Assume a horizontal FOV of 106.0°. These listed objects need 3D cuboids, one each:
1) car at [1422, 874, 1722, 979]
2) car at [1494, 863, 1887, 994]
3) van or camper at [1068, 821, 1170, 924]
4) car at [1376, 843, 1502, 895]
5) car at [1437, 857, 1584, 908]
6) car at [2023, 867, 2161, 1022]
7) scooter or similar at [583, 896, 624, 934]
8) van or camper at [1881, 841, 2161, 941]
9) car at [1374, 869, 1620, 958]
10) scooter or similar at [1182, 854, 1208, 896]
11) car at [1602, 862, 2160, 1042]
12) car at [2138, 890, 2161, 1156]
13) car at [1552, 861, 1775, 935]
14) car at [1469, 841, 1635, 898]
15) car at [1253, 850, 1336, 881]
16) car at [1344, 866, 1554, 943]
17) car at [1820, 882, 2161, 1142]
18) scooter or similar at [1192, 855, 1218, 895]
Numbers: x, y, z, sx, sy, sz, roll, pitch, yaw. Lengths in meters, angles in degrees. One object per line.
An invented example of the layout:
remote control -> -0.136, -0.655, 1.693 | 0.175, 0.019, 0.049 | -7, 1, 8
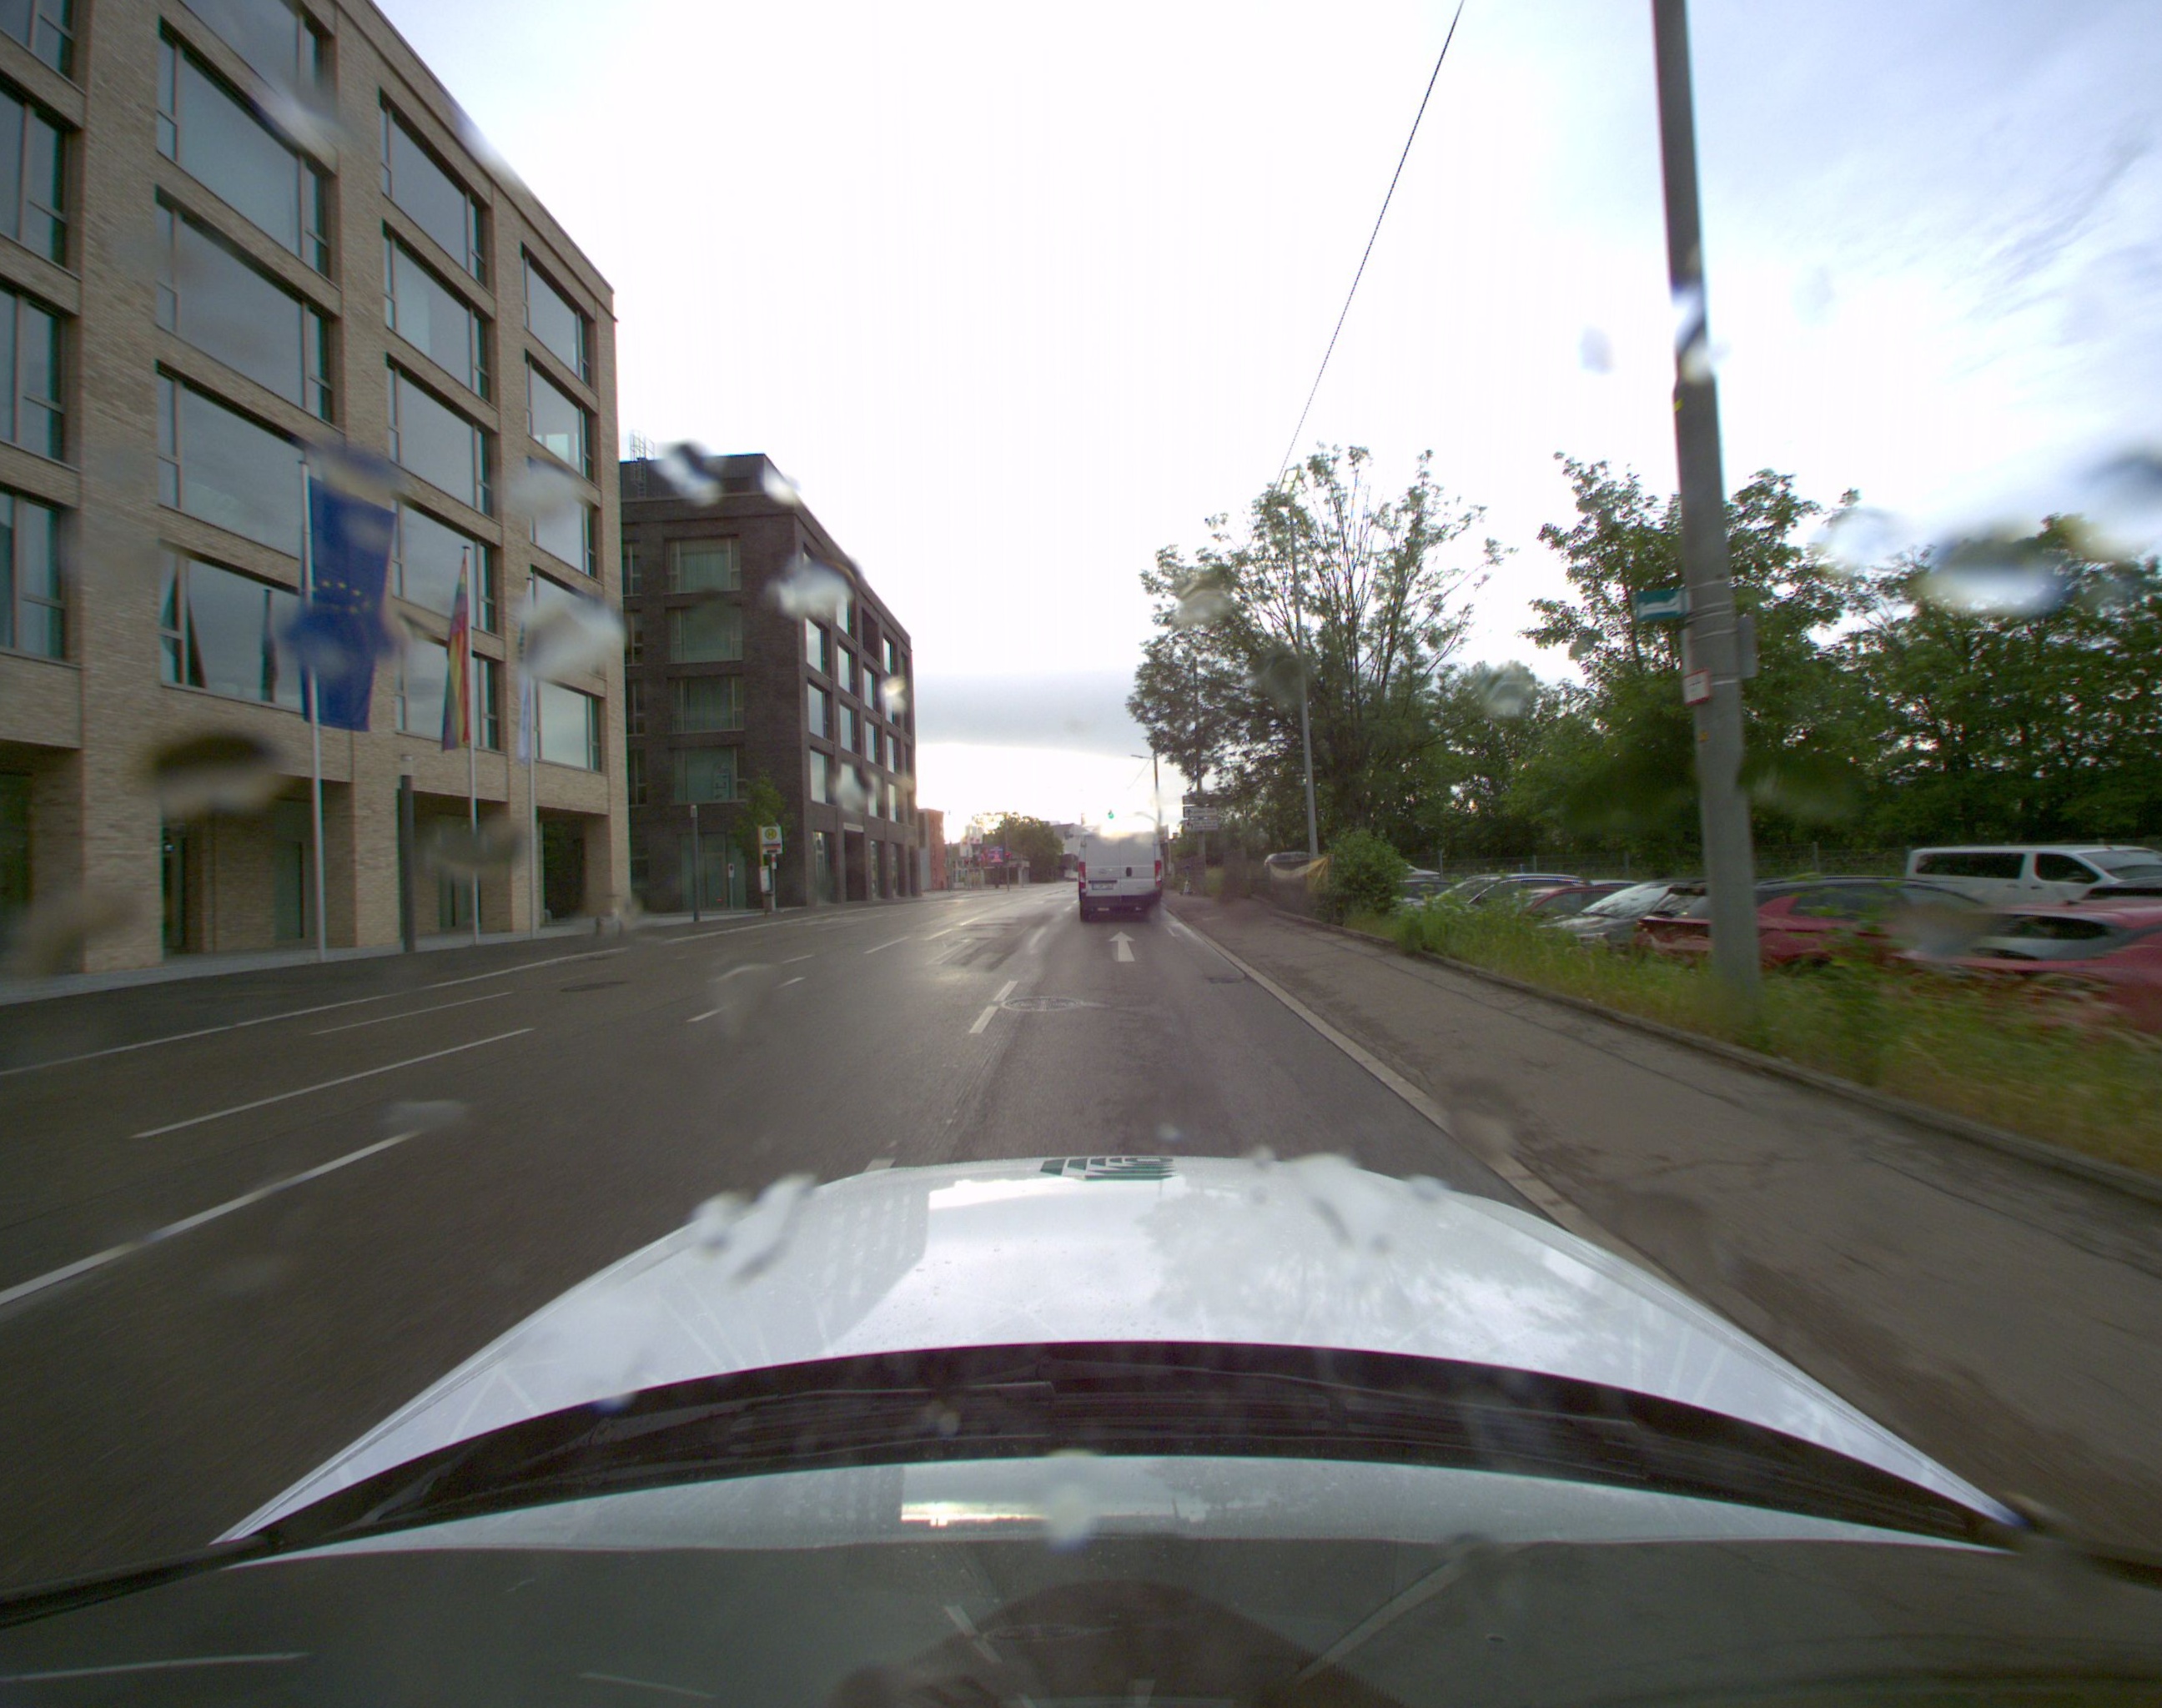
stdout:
car -> 8.133, 1.172, 13.781 | 3.972, 1.522, 1.804 | -2, 0, 1
car -> 8.099, 0.945, 11.122 | 3.972, 1.522, 1.804 | -2, 0, 1
van or camper -> 1.012, 0.414, 21.691 | 2.331, 2.357, 5.203 | -1, 0, 2
car -> 13.678, 0.564, 31.246 | 3.979, 1.521, 1.801 | -6, 0, -4
car -> 14.243, 0.925, 27.141 | 3.979, 1.522, 1.801 | -2, 0, -4
car -> 12.823, 0.895, 8.672 | 3.676, 1.519, 1.558 | -2, 0, 2
scooter or similar -> -14.483, 1.823, 24.714 | 0.349, 1.072, 1.429 | -2, -2, 2
van or camper -> 20.730, 0.652, 17.353 | 1.985, 1.788, 5.619 | -1, 0, 2
car -> 8.156, 1.124, 16.194 | 3.979, 1.522, 1.801 | -2, 0, -4
scooter or similar -> 4.498, 0.810, 32.166 | 0.436, 1.587, 1.264 | -1, 0, -21
car -> 8.141, 0.946, 8.610 | 4.113, 1.589, 1.761 | -1, 0, 1
car -> 7.878, 0.901, 3.657 | 3.749, 1.494, 1.812 | -2, 0, 3
car -> 13.440, 0.978, 18.946 | 3.979, 1.522, 1.801 | -2, 0, -4
car -> 14.099, 0.450, 24.522 | 3.979, 1.522, 1.801 | -2, 0, -4
car -> 11.561, 0.597, 44.165 | 3.979, 1.522, 1.801 | -2, 0, -4
car -> 8.291, 1.111, 18.576 | 3.979, 1.522, 1.801 | -2, 0, -4
car -> 8.254, 1.016, 6.011 | 3.972, 1.508, 1.760 | -1, 0, 1
scooter or similar -> 4.920, 0.811, 32.334 | 0.436, 1.564, 1.264 | -1, 0, -20
